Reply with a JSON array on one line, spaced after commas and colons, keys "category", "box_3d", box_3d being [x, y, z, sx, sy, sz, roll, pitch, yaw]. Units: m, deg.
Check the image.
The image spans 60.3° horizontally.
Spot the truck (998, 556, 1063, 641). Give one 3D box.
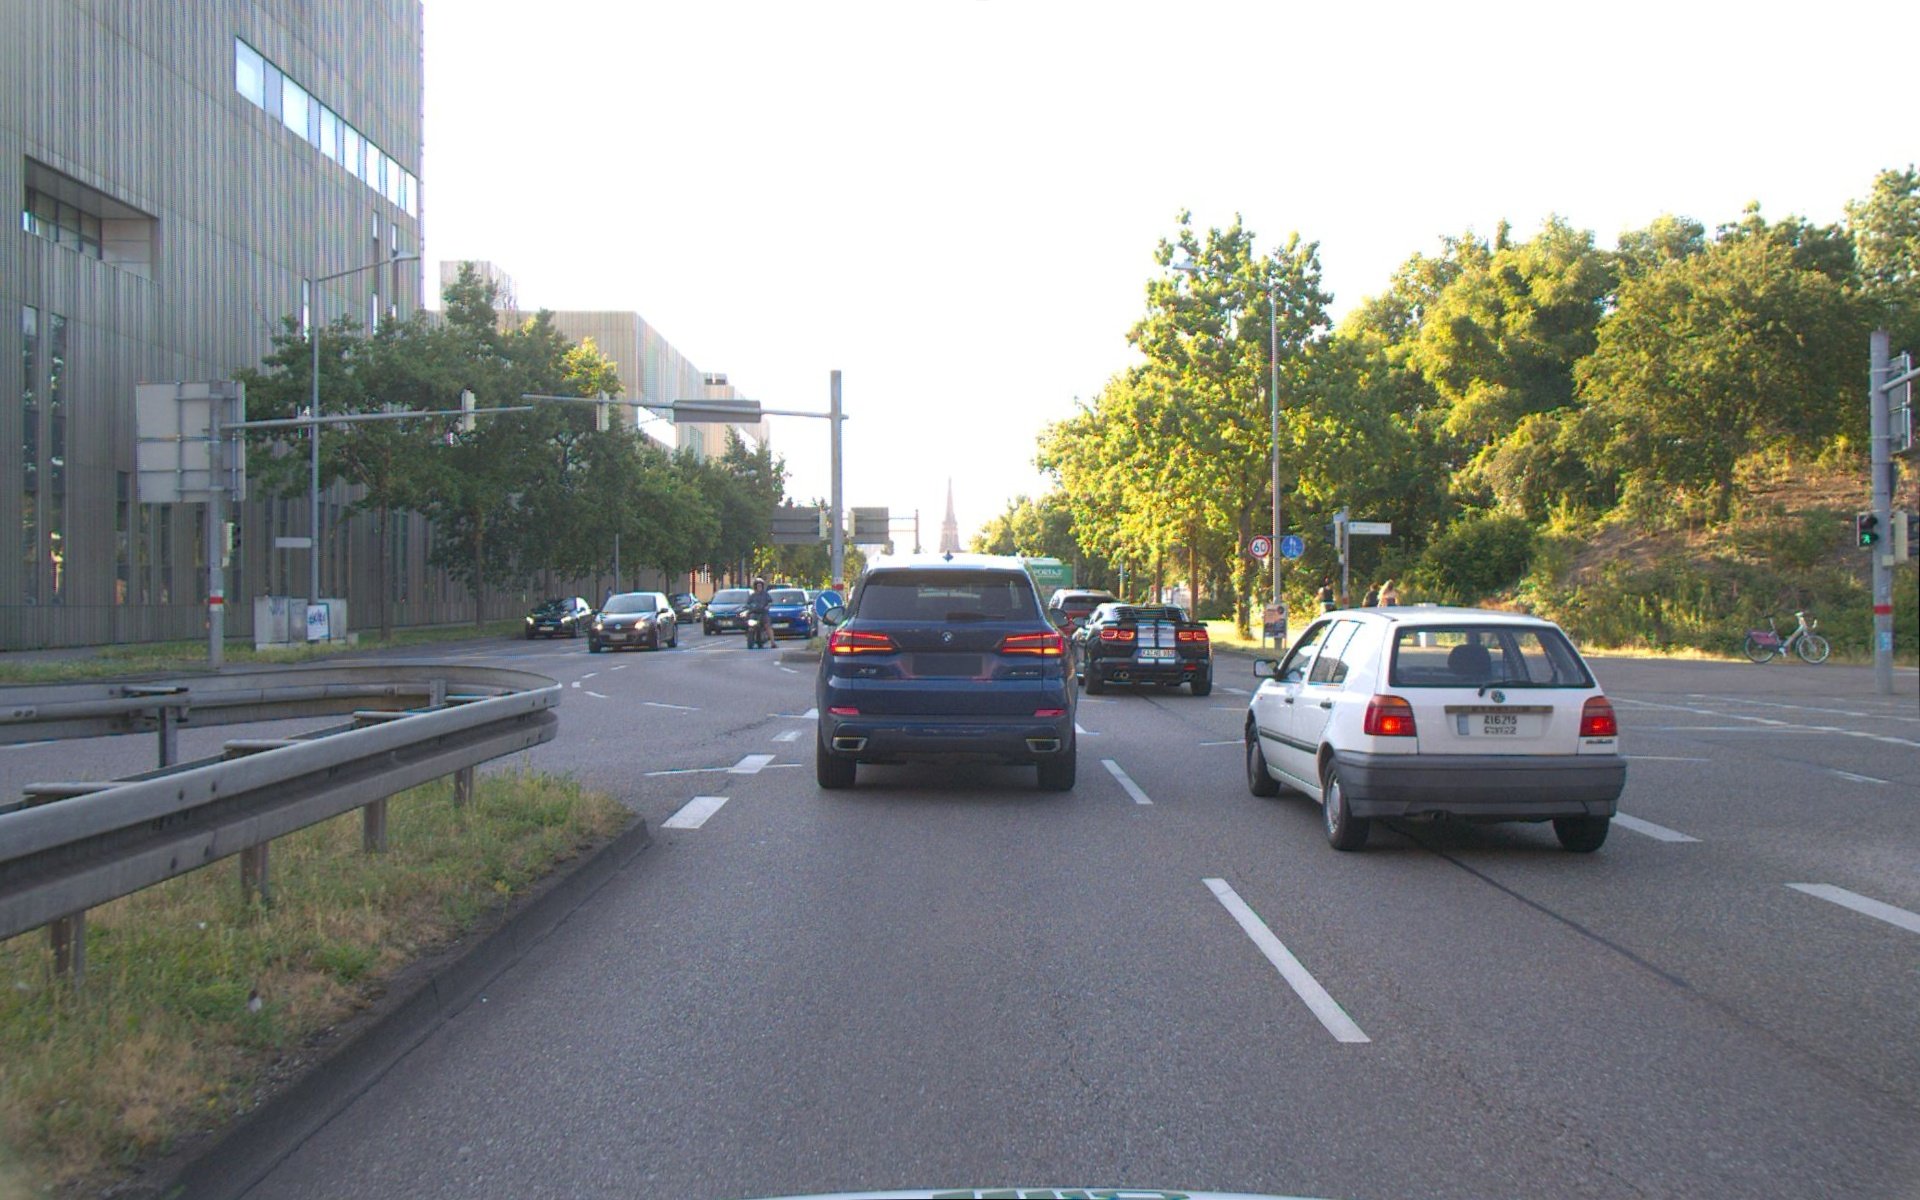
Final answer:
[{"category": "truck", "box_3d": [2.341, -0.014, 55.938, 1.955, 2.715, 3.999, 1, -1, 0]}]

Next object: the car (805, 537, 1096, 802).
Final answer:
[{"category": "car", "box_3d": [-0.077, 0.509, 13.610, 1.953, 1.764, 4.532, 1, -1, 0]}]

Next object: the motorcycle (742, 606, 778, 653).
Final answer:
[{"category": "motorcycle", "box_3d": [-4.994, 0.715, 41.213, 0.824, 1.094, 2.397, -2, 1, -7]}]

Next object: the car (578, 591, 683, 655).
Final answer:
[{"category": "car", "box_3d": [-8.425, 0.598, 42.623, 1.953, 1.501, 4.079, 2, -1, -2]}]

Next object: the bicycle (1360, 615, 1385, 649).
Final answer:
[{"category": "bicycle", "box_3d": [11.630, 0.910, 46.679, 0.428, 0.930, 1.026, 1, -1, 0]}]

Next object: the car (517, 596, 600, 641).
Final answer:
[{"category": "car", "box_3d": [-14.334, 0.663, 59.206, 1.954, 1.425, 4.347, -3, -1, -2]}]

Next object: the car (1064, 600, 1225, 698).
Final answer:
[{"category": "car", "box_3d": [2.706, 0.714, 25.117, 1.953, 1.317, 3.999, 1, -1, 0]}]

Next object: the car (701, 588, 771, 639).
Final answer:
[{"category": "car", "box_3d": [-8.007, 0.494, 59.505, 1.954, 1.619, 4.713, -3, -1, -2]}]

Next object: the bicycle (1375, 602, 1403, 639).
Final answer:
[{"category": "bicycle", "box_3d": [11.074, 0.529, 42.750, 0.428, 0.930, 1.026, -1, -1, 0]}]

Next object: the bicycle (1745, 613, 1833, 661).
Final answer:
[{"category": "bicycle", "box_3d": [17.930, 0.798, 35.809, 1.627, 1.008, 0.578, -1, 2, 16]}]

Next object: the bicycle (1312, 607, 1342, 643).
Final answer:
[{"category": "bicycle", "box_3d": [11.578, 0.788, 52.157, 0.553, 1.132, 1.621, 1, -1, 0]}]

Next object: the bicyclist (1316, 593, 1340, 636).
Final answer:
[{"category": "bicyclist", "box_3d": [11.591, 0.459, 52.147, 0.532, 1.339, 0.835, 1, -1, -1]}]

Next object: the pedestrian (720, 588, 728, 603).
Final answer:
[{"category": "pedestrian", "box_3d": [-24.755, -0.464, 173.441, 0.614, 1.548, 0.718, 1, -1, 2]}]

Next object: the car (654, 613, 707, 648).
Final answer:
[{"category": "car", "box_3d": [-14.223, 1.538, 84.415, 1.954, 1.619, 4.713, -3, -1, -2]}]

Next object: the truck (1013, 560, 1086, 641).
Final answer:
[{"category": "truck", "box_3d": [2.724, 0.052, 51.217, 1.955, 2.356, 3.999, 1, -1, 0]}]

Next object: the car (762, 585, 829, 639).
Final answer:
[{"category": "car", "box_3d": [-4.896, 0.371, 49.626, 1.668, 1.477, 3.856, -4, -1, -2]}]

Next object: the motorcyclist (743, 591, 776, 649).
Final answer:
[{"category": "motorcyclist", "box_3d": [-5.006, 0.495, 41.291, 0.782, 1.373, 1.273, -2, 1, -7]}]

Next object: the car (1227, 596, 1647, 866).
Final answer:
[{"category": "car", "box_3d": [2.946, 0.747, 11.093, 1.546, 1.438, 4.061, 1, -1, -1]}]

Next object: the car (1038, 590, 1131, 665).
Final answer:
[{"category": "car", "box_3d": [2.793, 0.623, 37.864, 1.759, 1.586, 3.999, 1, -1, 0]}]

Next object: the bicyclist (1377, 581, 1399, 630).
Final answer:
[{"category": "bicyclist", "box_3d": [11.082, 0.144, 42.841, 0.419, 1.254, 0.460, 0, -1, 0]}]

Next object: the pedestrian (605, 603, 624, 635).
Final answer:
[{"category": "pedestrian", "box_3d": [-23.087, 1.274, 110.644, 0.998, 2.049, 0.961, 1, -1, 0]}]

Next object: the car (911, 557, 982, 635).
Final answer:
[{"category": "car", "box_3d": [-0.542, -0.102, 59.858, 2.095, 2.621, 5.081, 2, -1, -5]}]

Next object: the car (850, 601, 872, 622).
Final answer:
[{"category": "car", "box_3d": [-8.895, 1.038, 148.454, 1.721, 1.808, 4.492, -4, -1, -2]}]

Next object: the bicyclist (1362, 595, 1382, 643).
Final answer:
[{"category": "bicyclist", "box_3d": [11.630, 0.527, 46.722, 0.419, 1.332, 0.460, 1, -1, 0]}]
